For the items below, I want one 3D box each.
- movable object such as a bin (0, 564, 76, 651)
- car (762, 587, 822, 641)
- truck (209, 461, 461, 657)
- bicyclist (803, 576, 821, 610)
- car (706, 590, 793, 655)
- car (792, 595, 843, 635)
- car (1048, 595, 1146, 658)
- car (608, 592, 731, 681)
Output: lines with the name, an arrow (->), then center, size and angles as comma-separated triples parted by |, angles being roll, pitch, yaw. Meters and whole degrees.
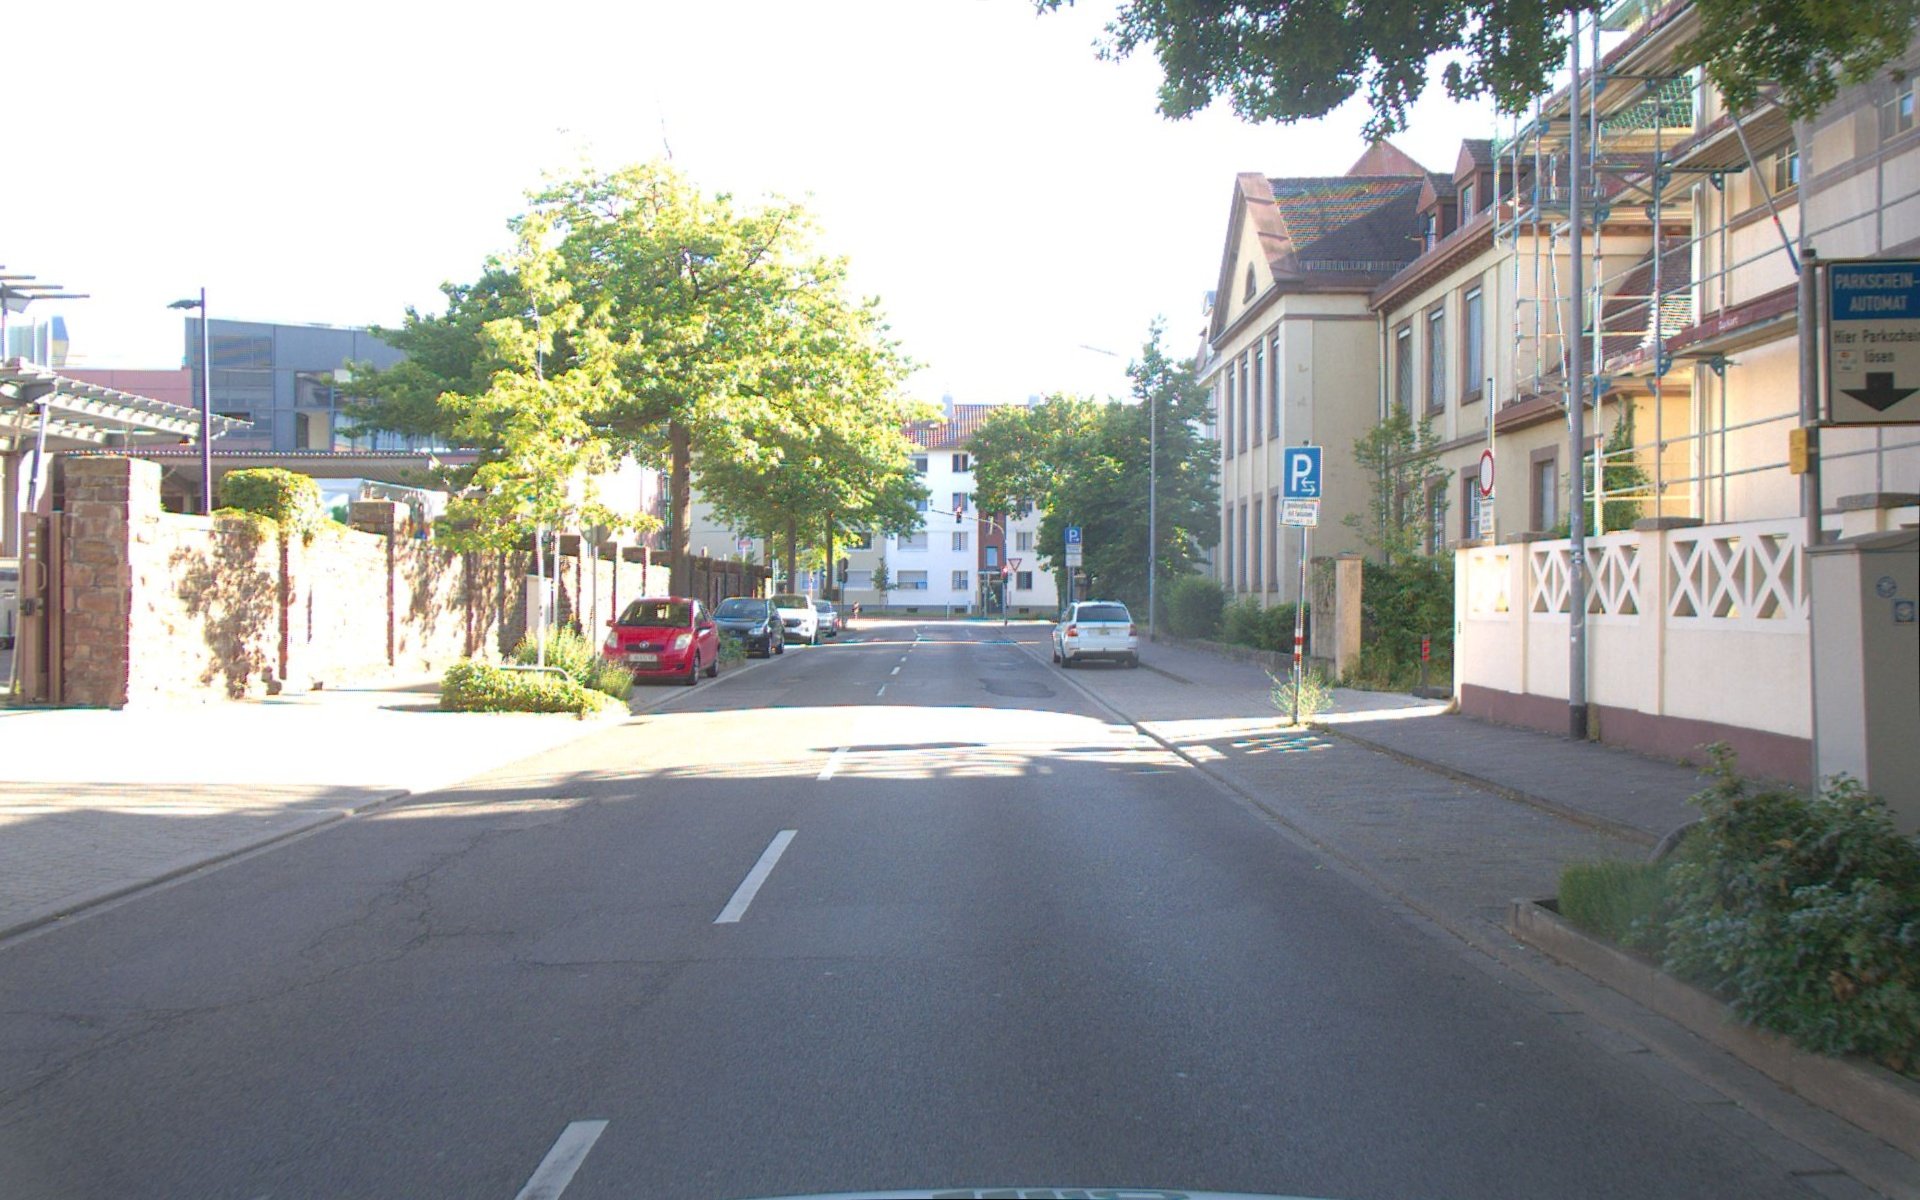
movable object such as a bin -> -18.400, 0.117, 31.988 | 1.299, 1.625, 2.553 | 2, 0, -3
car -> -5.471, 0.428, 54.301 | 1.685, 1.713, 4.349 | 0, 0, -2
truck -> -13.396, -0.817, 36.221 | 2.677, 3.776, 7.427 | 2, 0, -1
bicyclist -> -7.827, -0.364, 87.505 | 0.782, 1.788, 0.603 | 1, 0, -42
car -> -5.485, 0.556, 43.482 | 1.701, 1.620, 4.107 | 0, 0, 1
car -> -5.678, 0.577, 66.441 | 1.691, 1.501, 4.477 | 2, 0, -1
car -> 3.080, 0.570, 38.012 | 1.795, 1.346, 4.495 | -1, 0, -1
car -> -5.261, 0.617, 30.338 | 1.576, 1.484, 3.708 | 2, 0, 0
